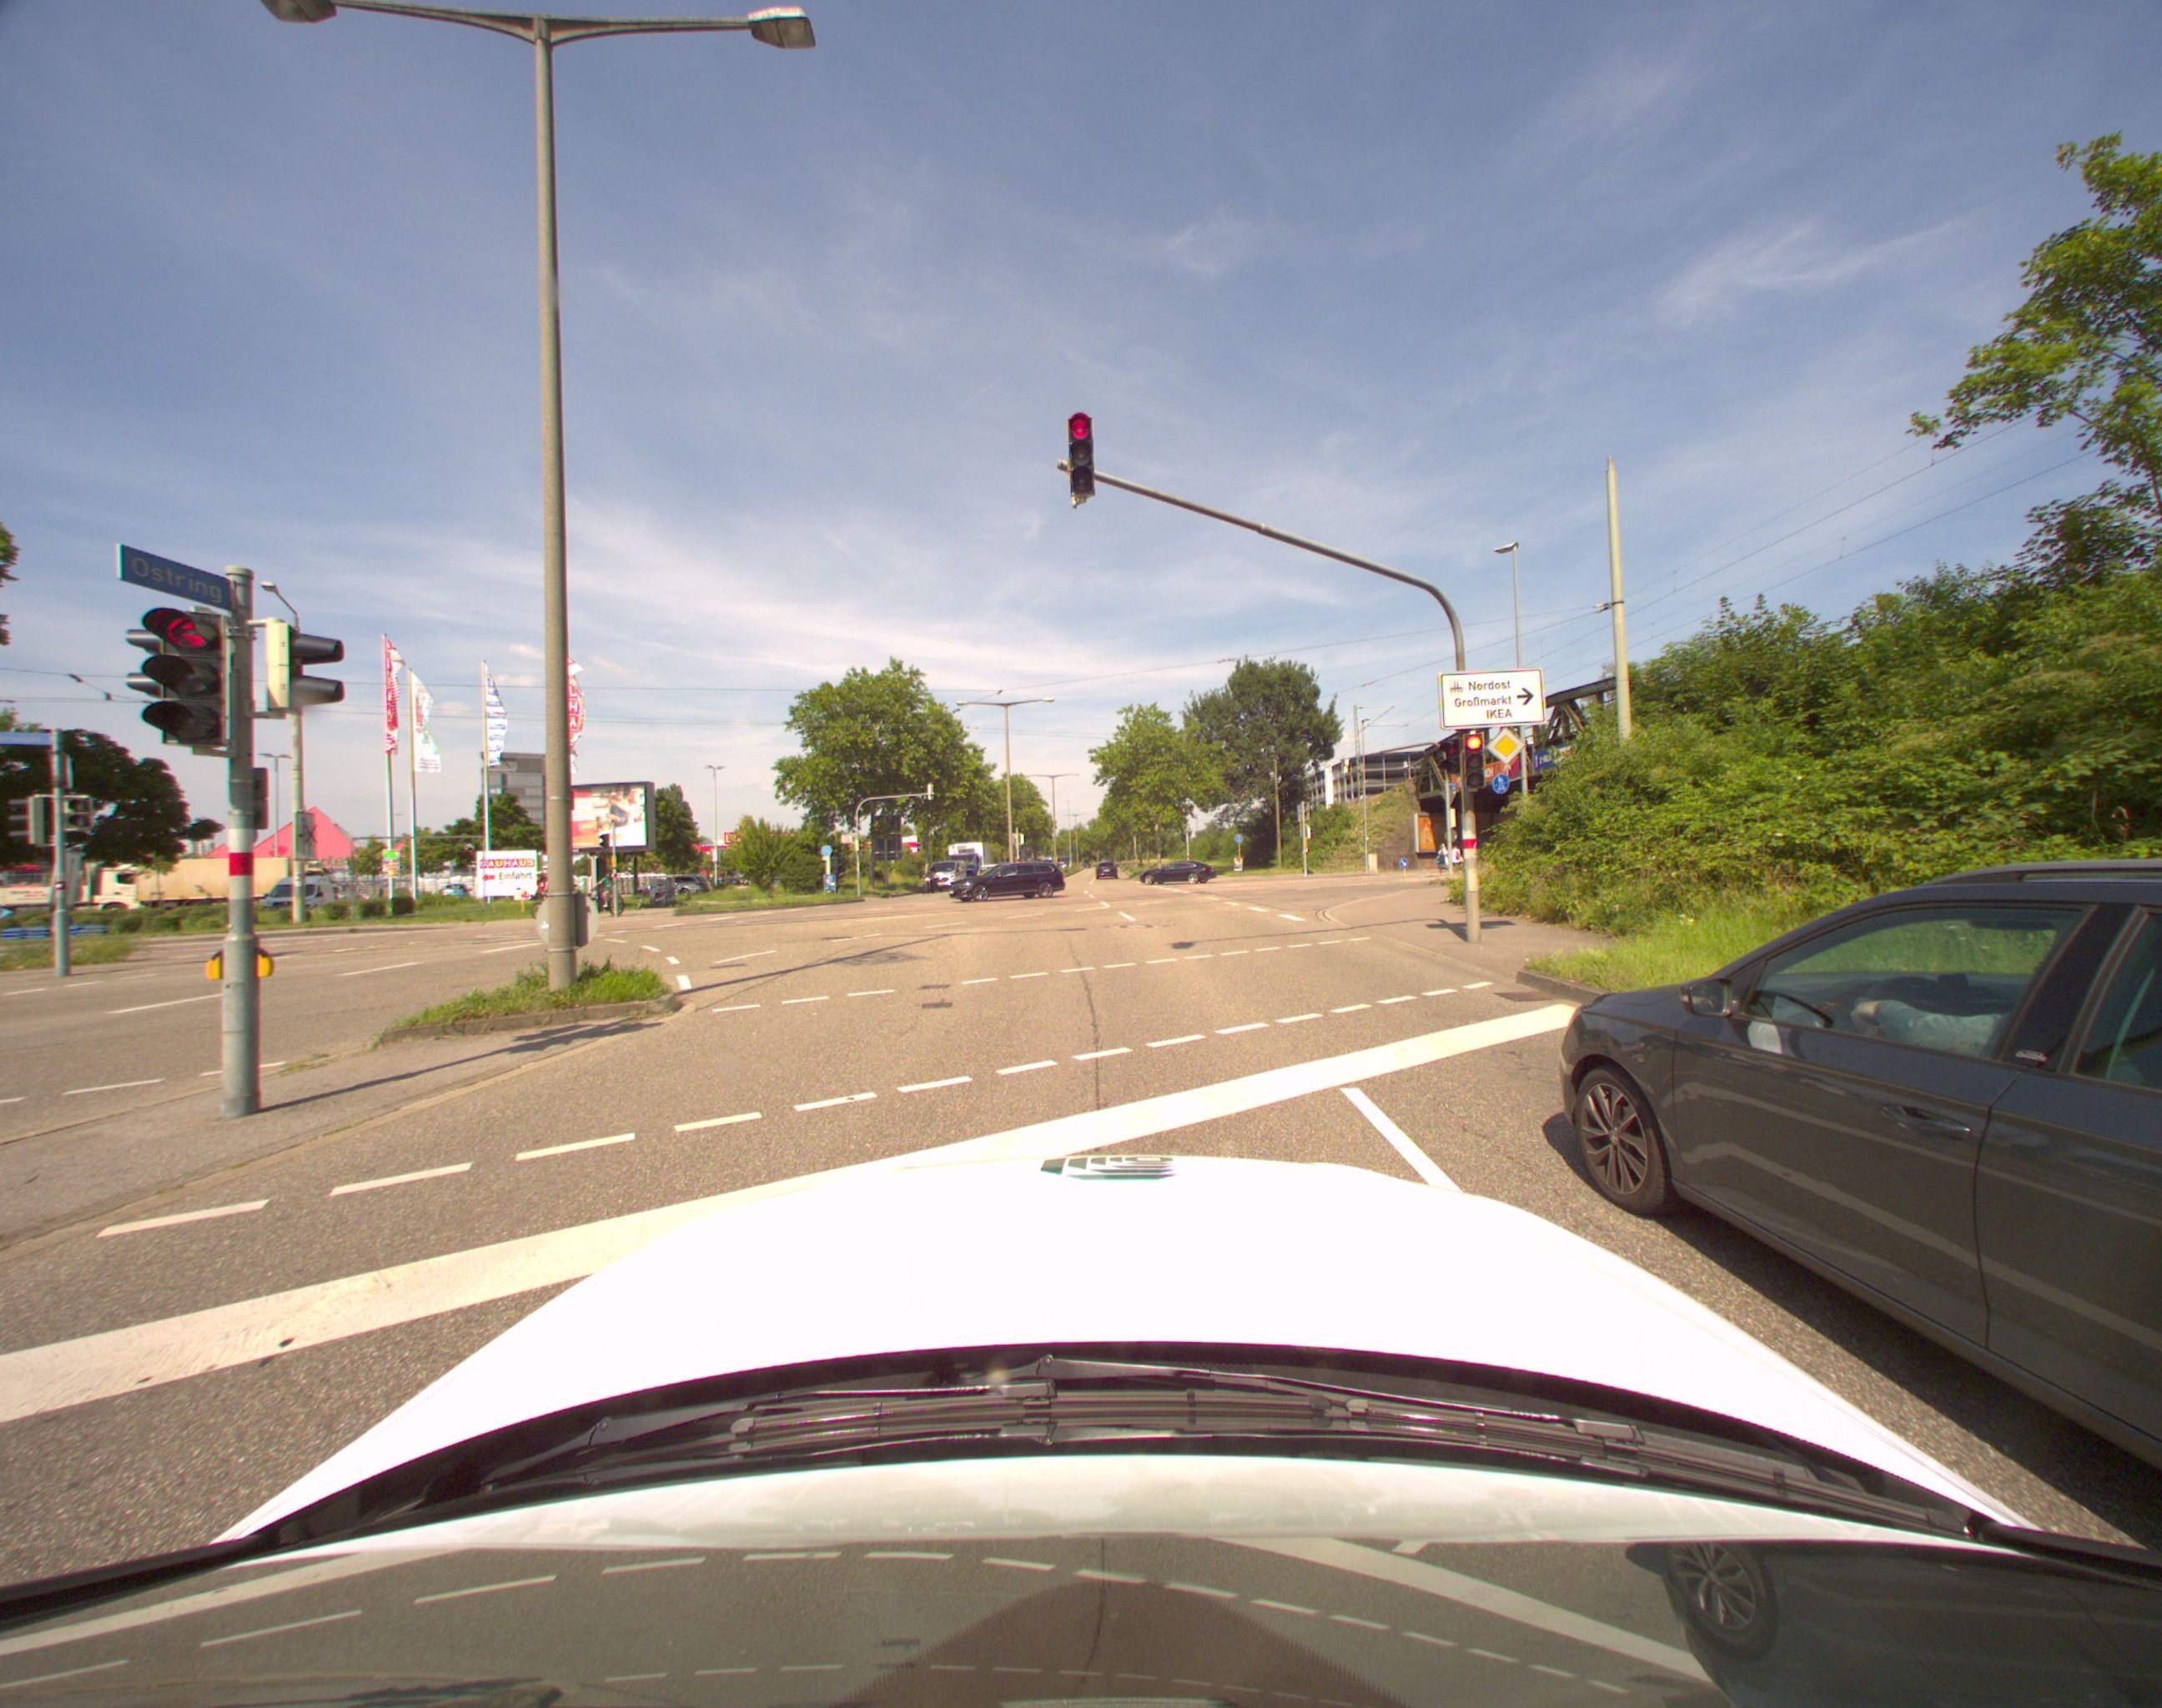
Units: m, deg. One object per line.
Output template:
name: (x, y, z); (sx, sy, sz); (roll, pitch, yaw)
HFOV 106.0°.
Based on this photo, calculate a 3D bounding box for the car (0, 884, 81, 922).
car: (-77.030, 3.574, 59.871); (2.396, 2.529, 6.066); (-2, -1, -31)

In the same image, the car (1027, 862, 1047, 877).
car: (-4.568, 1.607, 85.164); (1.682, 1.472, 3.816); (-3, 0, 2)

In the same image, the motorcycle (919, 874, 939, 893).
motorcycle: (-9.026, 1.743, 48.524); (0.685, 0.991, 2.218); (-2, 0, 2)

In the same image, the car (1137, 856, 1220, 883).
car: (5.877, 0.919, 49.232); (4.565, 1.463, 1.925); (-2, 0, 24)

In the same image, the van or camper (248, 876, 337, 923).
van or camper: (-41.032, 2.299, 42.544); (2.204, 2.210, 5.462); (-2, -1, -32)

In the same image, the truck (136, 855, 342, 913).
truck: (-55.063, 1.878, 53.719); (8.964, 3.311, 3.125); (-2, -1, -36)

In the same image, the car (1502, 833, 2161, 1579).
car: (2.944, 0.678, 2.129); (1.668, 1.453, 4.037); (-1, 0, 1)

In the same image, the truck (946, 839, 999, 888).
truck: (-8.407, 0.684, 63.948); (2.793, 3.471, 6.693); (-4, 0, 2)

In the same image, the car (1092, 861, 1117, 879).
car: (1.940, 1.317, 68.481); (1.829, 1.391, 4.262); (-2, 0, -1)

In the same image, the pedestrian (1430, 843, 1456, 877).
pedestrian: (17.458, 0.282, 39.323); (0.865, 1.611, 0.778); (-2, -1, 1)

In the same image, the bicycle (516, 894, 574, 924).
bicycle: (-19.174, 1.950, 29.166); (0.430, 0.937, 1.761); (-2, -1, 24)

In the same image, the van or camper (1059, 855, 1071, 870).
van or camper: (-2.729, 1.472, 141.004); (1.932, 2.368, 5.397); (-3, -1, 0)

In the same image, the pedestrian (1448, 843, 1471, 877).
pedestrian: (18.342, 0.281, 39.460); (0.726, 1.579, 0.778); (-2, -1, 1)

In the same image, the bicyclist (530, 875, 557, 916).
bicyclist: (-19.243, 1.490, 29.156); (0.523, 1.414, 0.613); (-2, -1, 24)

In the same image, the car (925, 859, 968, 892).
car: (-8.766, 1.376, 53.584); (1.970, 1.999, 5.030); (-2, 0, -1)

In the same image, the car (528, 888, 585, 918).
car: (-31.679, 2.911, 49.130); (2.212, 1.572, 4.522); (-1, -1, -41)

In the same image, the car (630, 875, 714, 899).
car: (-27.771, 2.223, 55.482); (4.556, 1.414, 2.196); (-2, -1, -6)

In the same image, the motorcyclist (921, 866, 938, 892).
motorcyclist: (-9.064, 1.499, 48.621); (0.740, 1.470, 0.988); (-2, 0, 1)

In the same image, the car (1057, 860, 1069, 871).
car: (-2.847, 1.857, 132.108); (1.682, 1.510, 3.816); (-3, 0, 2)

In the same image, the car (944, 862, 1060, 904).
car: (-3.136, 1.120, 32.458); (4.233, 1.443, 1.773); (-2, 0, -29)

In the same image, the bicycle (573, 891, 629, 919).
bicycle: (-17.851, 1.887, 30.341); (0.412, 0.937, 2.007); (-2, -1, 18)

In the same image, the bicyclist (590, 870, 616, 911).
bicyclist: (-17.851, 1.364, 30.393); (0.523, 1.491, 0.612); (-2, -1, 17)

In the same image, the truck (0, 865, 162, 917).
truck: (-64.911, 2.319, 50.733); (9.655, 2.892, 2.895); (-2, -1, -35)

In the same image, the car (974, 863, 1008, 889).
car: (-5.834, 1.414, 53.152); (1.587, 1.477, 3.731); (-3, 0, 2)

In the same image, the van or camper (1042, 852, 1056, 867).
van or camper: (-5.842, 1.003, 148.261); (2.007, 2.587, 5.519); (-3, 0, 2)

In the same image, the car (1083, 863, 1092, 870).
car: (1.586, 2.911, 194.290); (1.798, 1.510, 3.810); (-2, 0, -3)

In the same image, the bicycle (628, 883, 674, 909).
bicycle: (-18.775, 1.837, 35.601); (0.590, 1.037, 1.903); (-2, -1, 16)

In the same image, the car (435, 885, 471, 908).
car: (-45.839, 3.070, 59.510); (1.829, 1.572, 4.234); (-2, -1, -34)
